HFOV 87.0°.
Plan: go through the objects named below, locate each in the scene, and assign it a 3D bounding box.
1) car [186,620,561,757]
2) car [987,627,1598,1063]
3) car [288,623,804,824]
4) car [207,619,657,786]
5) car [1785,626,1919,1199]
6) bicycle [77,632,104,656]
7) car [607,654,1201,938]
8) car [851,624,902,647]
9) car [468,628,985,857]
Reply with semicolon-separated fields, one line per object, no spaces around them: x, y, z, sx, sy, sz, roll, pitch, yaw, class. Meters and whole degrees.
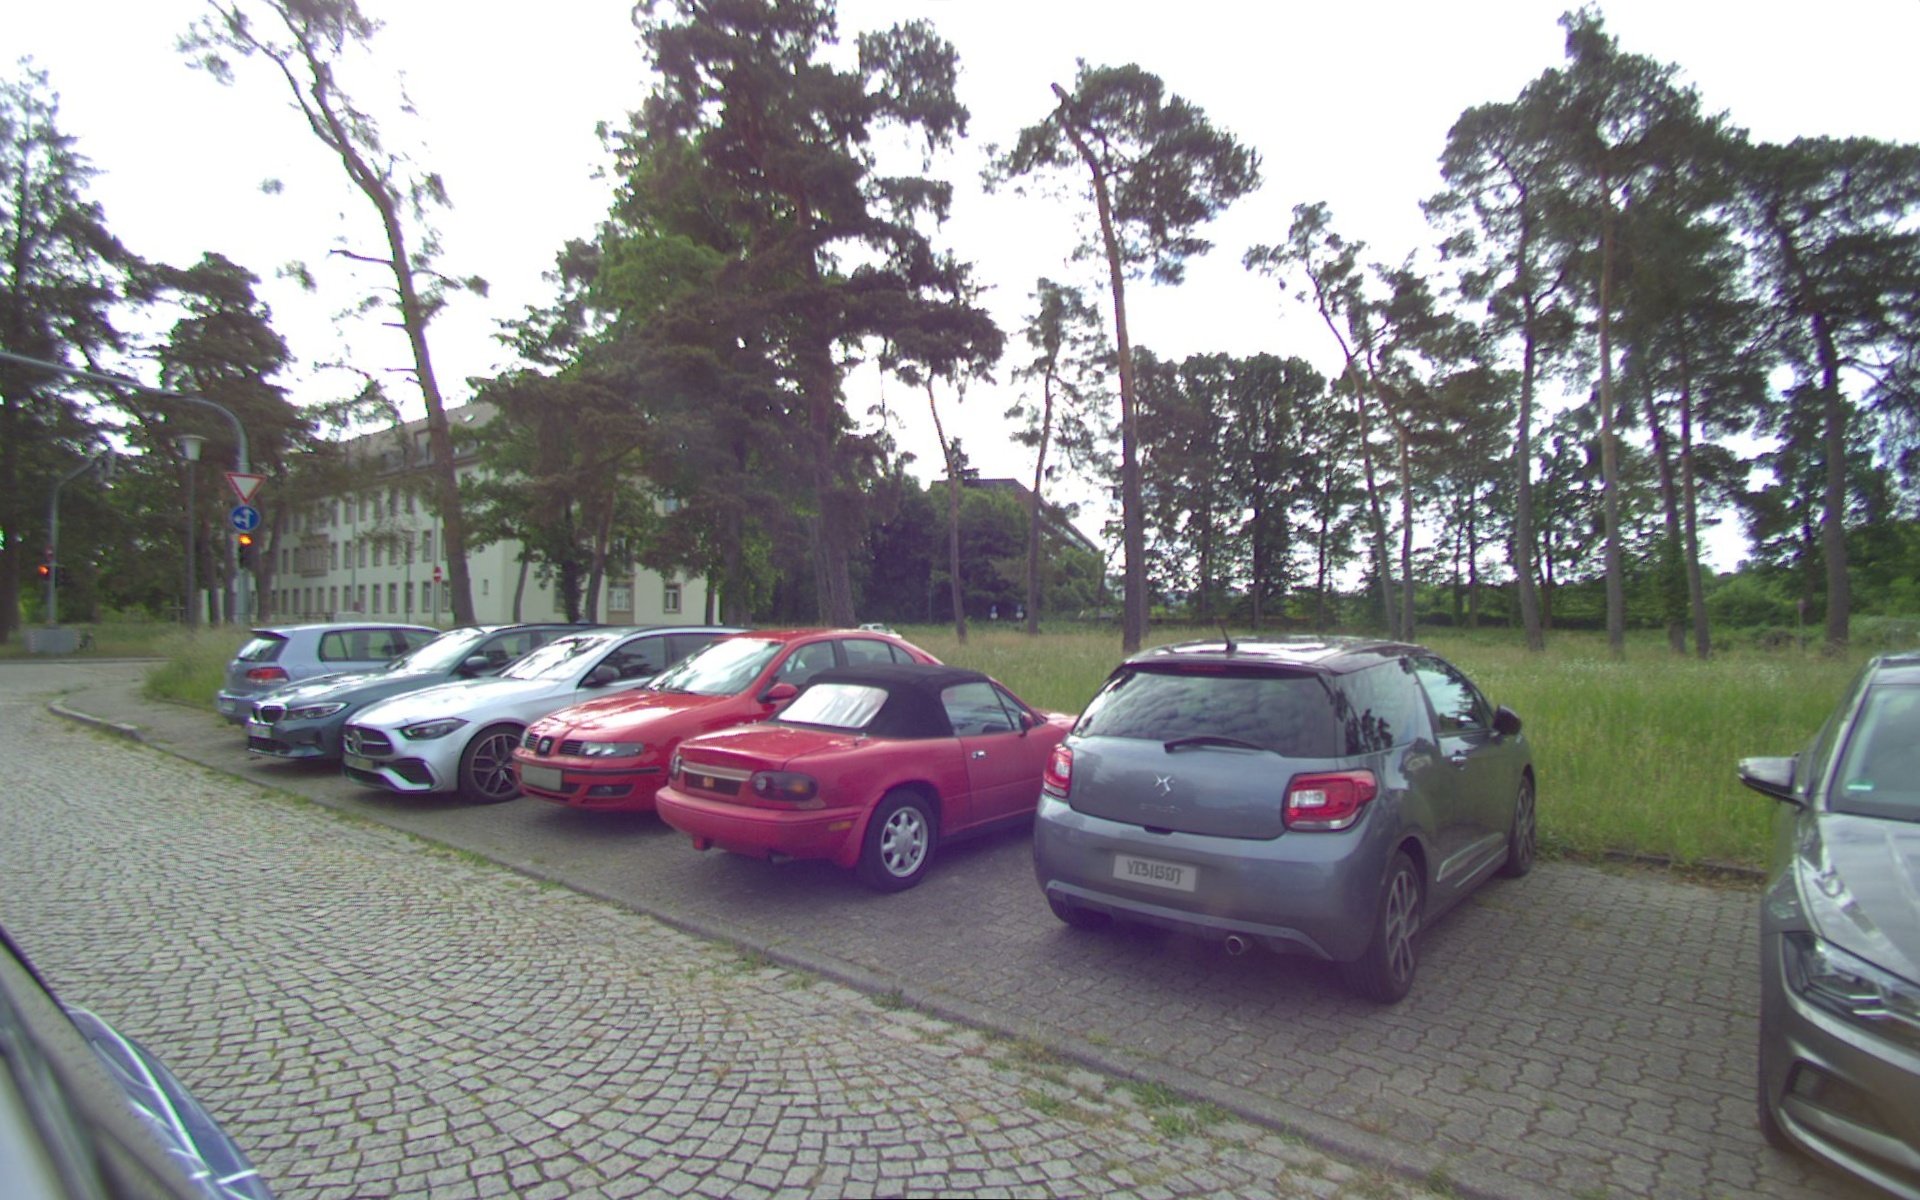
-7.733;1.072;13.653;1.903;1.555;3.948;-1;-2;38;car
2.154;0.907;5.675;1.844;1.493;4.123;-1;-2;40;car
-3.786;1.001;9.973;1.933;1.519;4.333;-1;-2;37;car
-5.875;1.028;11.750;1.932;1.560;4.212;-1;-2;36;car
3.994;0.846;3.307;1.864;1.503;4.122;-1;-2;41;car
-33.628;1.686;39.127;1.045;0.923;0.291;0;-2;19;bicycle
-0.107;1.068;7.098;1.830;1.276;4.123;-1;-2;41;car
-6.673;2.819;81.234;1.722;1.821;3.944;-1;-2;42;car
-1.769;0.993;8.812;1.862;1.488;4.125;-1;-2;39;car
